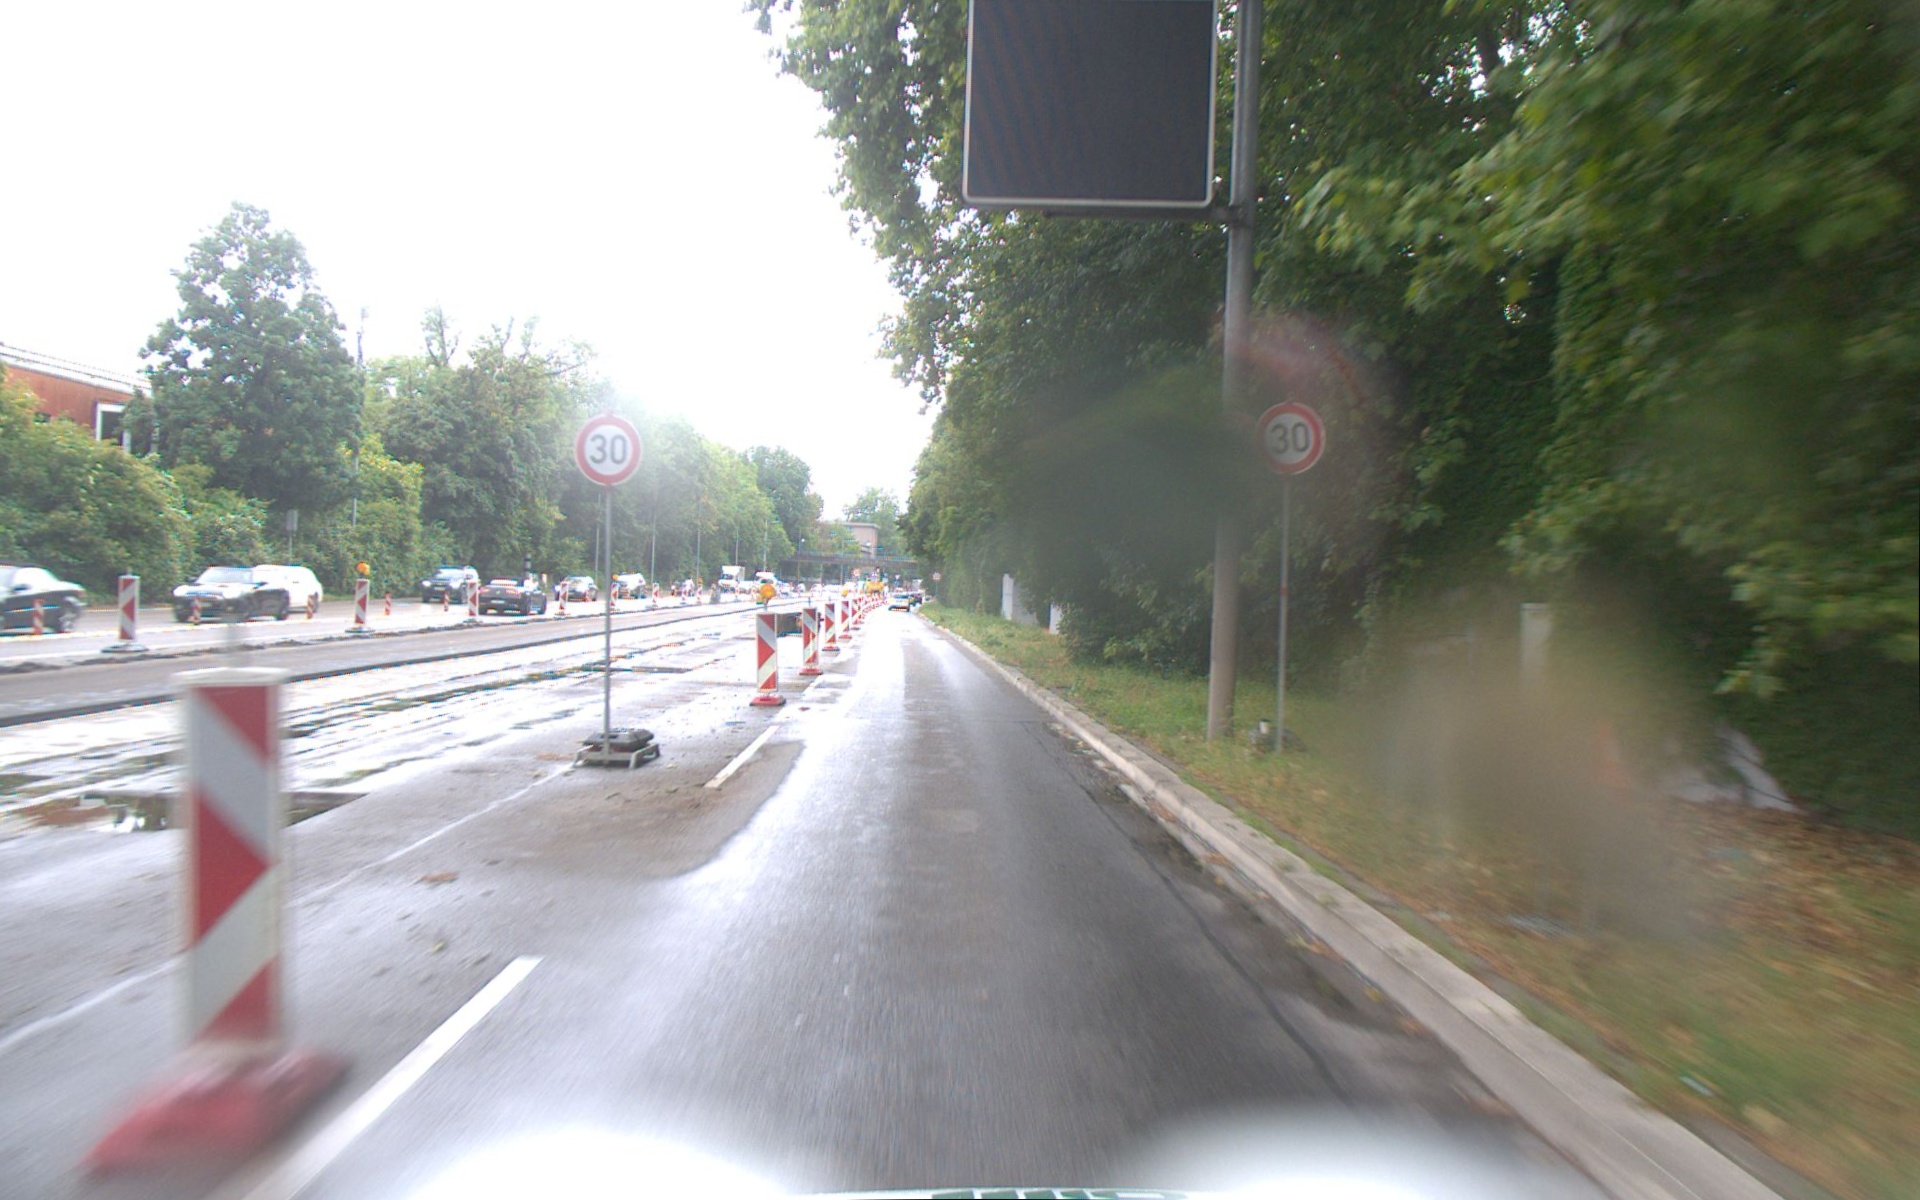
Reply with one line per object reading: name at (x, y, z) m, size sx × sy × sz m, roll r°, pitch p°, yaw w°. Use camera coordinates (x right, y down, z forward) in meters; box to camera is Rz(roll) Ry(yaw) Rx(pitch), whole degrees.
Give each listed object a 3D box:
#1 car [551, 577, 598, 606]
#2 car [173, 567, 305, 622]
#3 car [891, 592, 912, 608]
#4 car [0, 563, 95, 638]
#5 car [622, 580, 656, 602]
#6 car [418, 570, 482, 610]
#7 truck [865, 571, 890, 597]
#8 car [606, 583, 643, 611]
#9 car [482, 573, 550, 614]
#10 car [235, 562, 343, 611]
car at (-21.818, -0.482, 93.841) m, size 1.725 × 1.509 × 4.897 m, roll 2°, pitch 0°, yaw -3°
car at (-19.004, -0.153, 43.771) m, size 1.781 × 1.379 × 4.203 m, roll 0°, pitch 1°, yaw -2°
car at (-4.884, -0.025, 137.795) m, size 1.663 × 1.359 × 3.489 m, roll 0°, pitch 0°, yaw -2°
car at (-18.611, -0.009, 31.793) m, size 1.781 × 1.379 × 4.388 m, roll 0°, pitch 1°, yaw -2°
car at (-23.026, -0.630, 118.730) m, size 1.725 × 1.509 × 4.897 m, roll 2°, pitch 0°, yaw -3°
car at (-23.203, -0.460, 75.443) m, size 1.620 × 1.714 × 4.531 m, roll 2°, pitch 0°, yaw -2°
truck at (-11.626, -2.268, 233.818) m, size 3.194 × 3.558 × 13.864 m, roll 2°, pitch 0°, yaw -2°
car at (-22.515, -0.216, 111.043) m, size 1.700 × 1.752 × 4.491 m, roll 2°, pitch 0°, yaw -3°
car at (-16.652, -0.262, 62.149) m, size 1.575 × 1.429 × 4.039 m, roll 2°, pitch 0°, yaw -2°
car at (-21.946, -0.441, 54.283) m, size 1.781 × 1.444 × 4.601 m, roll 3°, pitch 0°, yaw -2°
